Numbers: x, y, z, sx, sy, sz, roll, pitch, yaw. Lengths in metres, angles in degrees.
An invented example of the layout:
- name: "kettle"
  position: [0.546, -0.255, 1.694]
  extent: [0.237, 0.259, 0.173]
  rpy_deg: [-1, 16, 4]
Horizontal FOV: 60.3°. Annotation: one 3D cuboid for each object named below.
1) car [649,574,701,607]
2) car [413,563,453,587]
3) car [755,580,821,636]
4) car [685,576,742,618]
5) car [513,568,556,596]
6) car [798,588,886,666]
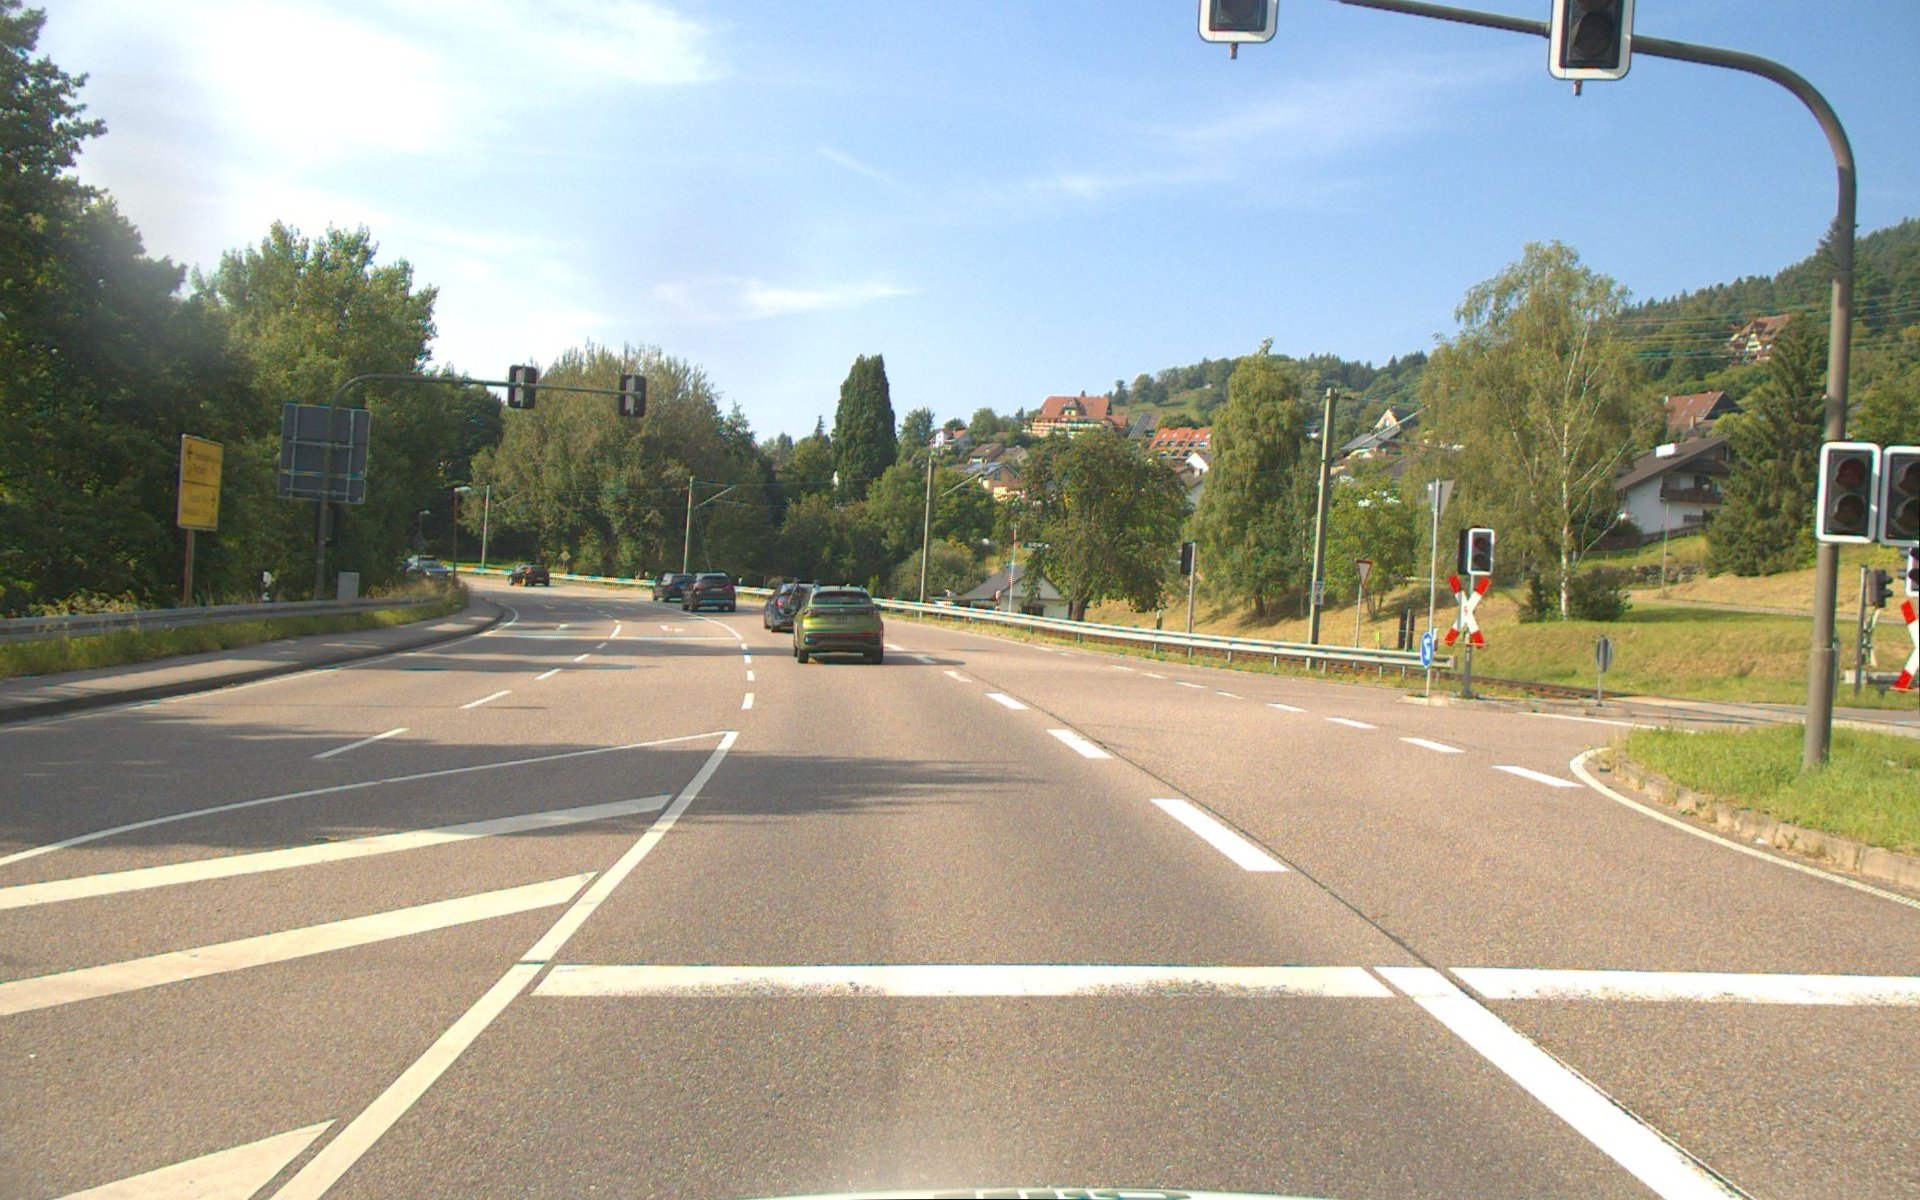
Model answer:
- name: "car"
  position: [-14.761, -0.512, 85.439]
  extent: [1.824, 1.553, 3.636]
  rpy_deg: [2, 1, -23]
- name: "car"
  position: [-42.280, -1.990, 132.652]
  extent: [2.044, 1.842, 3.956]
  rpy_deg: [1, 1, -33]
- name: "car"
  position: [-5.253, 0.210, 50.255]
  extent: [1.637, 1.586, 3.990]
  rpy_deg: [2, 0, -11]
- name: "car"
  position: [-10.735, -0.160, 71.824]
  extent: [1.850, 1.716, 3.981]
  rpy_deg: [1, 0, -17]
- name: "car"
  position: [-29.092, -1.250, 113.106]
  extent: [1.971, 1.775, 3.964]
  rpy_deg: [2, 0, -28]
- name: "car"
  position: [-2.380, 0.510, 33.780]
  extent: [1.681, 1.480, 3.997]
  rpy_deg: [1, 0, -4]
